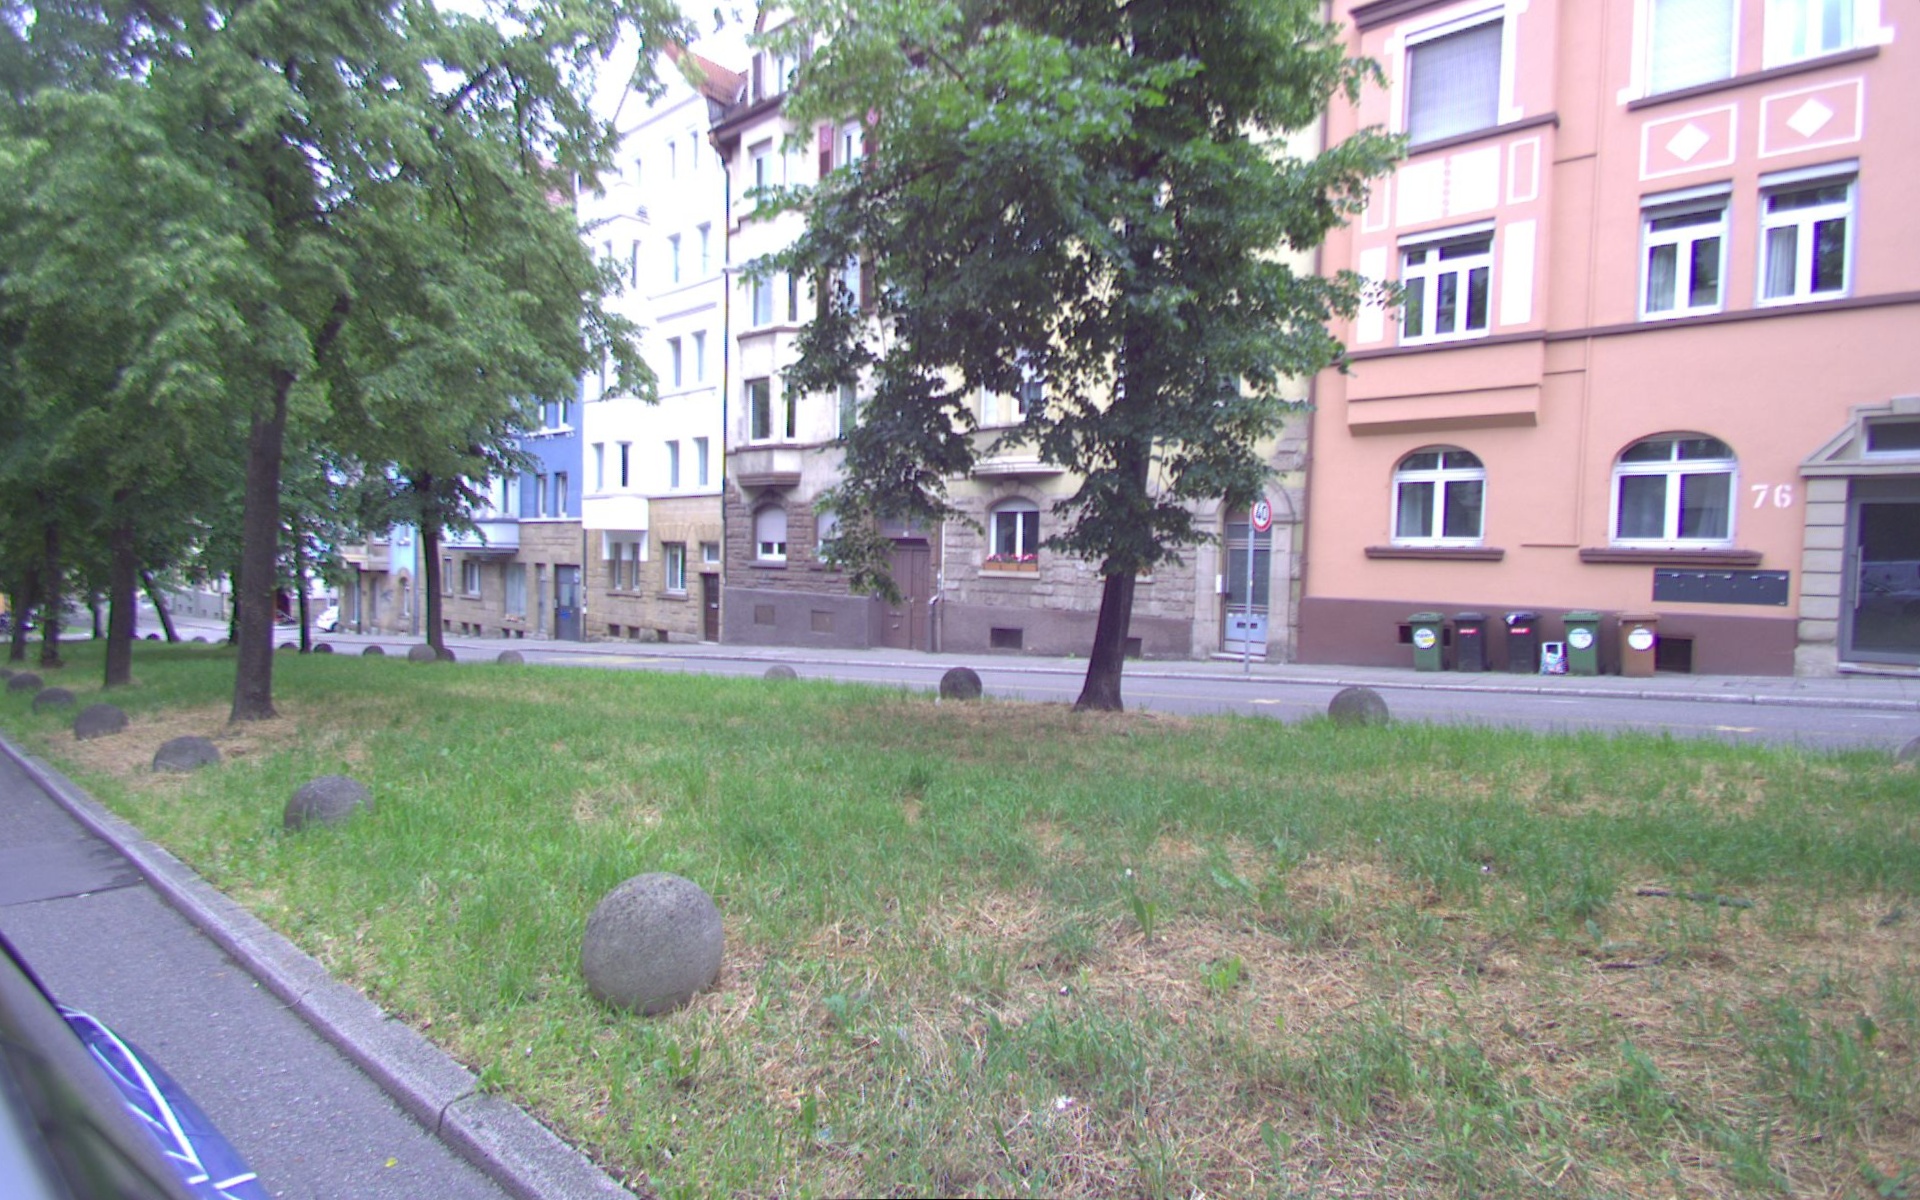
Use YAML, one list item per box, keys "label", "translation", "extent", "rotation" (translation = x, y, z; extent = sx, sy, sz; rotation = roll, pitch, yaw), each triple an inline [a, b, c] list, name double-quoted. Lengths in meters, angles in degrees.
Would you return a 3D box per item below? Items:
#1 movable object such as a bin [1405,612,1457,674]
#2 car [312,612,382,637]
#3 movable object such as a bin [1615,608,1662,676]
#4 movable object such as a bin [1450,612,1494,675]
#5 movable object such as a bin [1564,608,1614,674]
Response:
- label: "movable object such as a bin"
  translation: [7.537, 0.678, 16.193]
  extent: [0.617, 0.955, 0.610]
  rotation: [-1, 0, 40]
- label: "car"
  translation: [-35.385, 1.379, 58.470]
  extent: [3.244, 1.341, 1.674]
  rotation: [-1, 0, -40]
- label: "movable object such as a bin"
  translation: [9.638, 0.582, 14.362]
  extent: [0.514, 0.928, 0.750]
  rotation: [-1, 0, 36]
- label: "movable object such as a bin"
  translation: [8.011, 0.672, 15.821]
  extent: [0.531, 0.953, 0.575]
  rotation: [-1, 0, 35]
- label: "movable object such as a bin"
  translation: [9.175, 0.588, 14.758]
  extent: [0.558, 0.928, 0.648]
  rotation: [-1, 0, 36]
